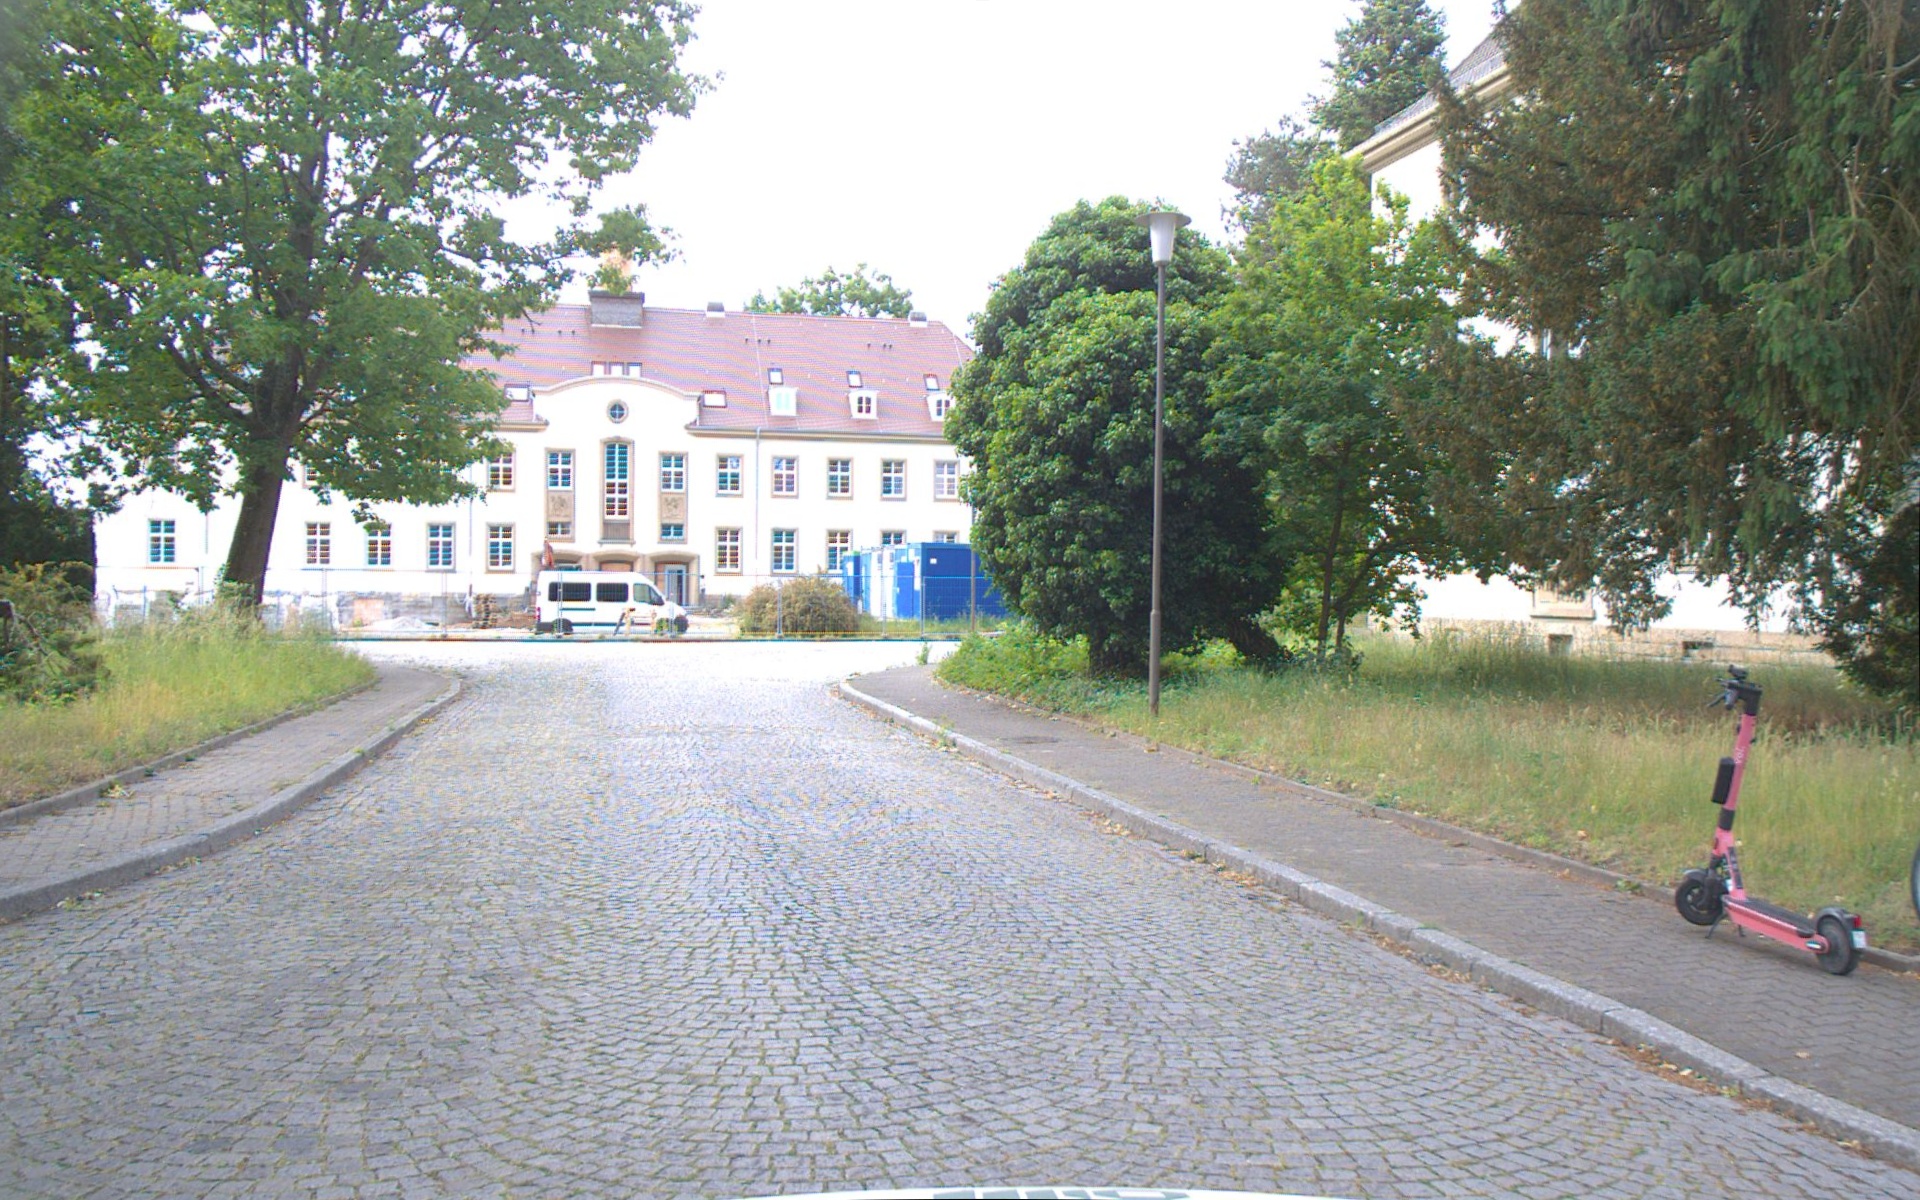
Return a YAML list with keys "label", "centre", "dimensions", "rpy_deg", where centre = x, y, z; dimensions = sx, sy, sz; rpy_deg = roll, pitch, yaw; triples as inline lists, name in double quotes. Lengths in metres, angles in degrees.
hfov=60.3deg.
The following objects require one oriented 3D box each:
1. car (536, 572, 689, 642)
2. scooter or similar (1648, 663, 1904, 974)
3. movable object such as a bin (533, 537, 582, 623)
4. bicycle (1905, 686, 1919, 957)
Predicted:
- label: "car"
  centre: [-12.161, 0.243, 58.107]
  dimensions: [5.169, 2.385, 1.904]
  rpy_deg: [0, 0, -12]
- label: "scooter or similar"
  centre: [3.623, 0.922, 7.420]
  dimensions: [0.351, 1.231, 1.132]
  rpy_deg: [0, 0, -16]
- label: "movable object such as a bin"
  centre: [-18.589, -0.885, 76.225]
  dimensions: [1.961, 3.837, 5.294]
  rpy_deg: [0, 0, -16]
- label: "bicycle"
  centre: [4.685, 0.944, 6.407]
  dimensions: [0.544, 1.134, 1.752]
  rpy_deg: [0, 0, -30]
